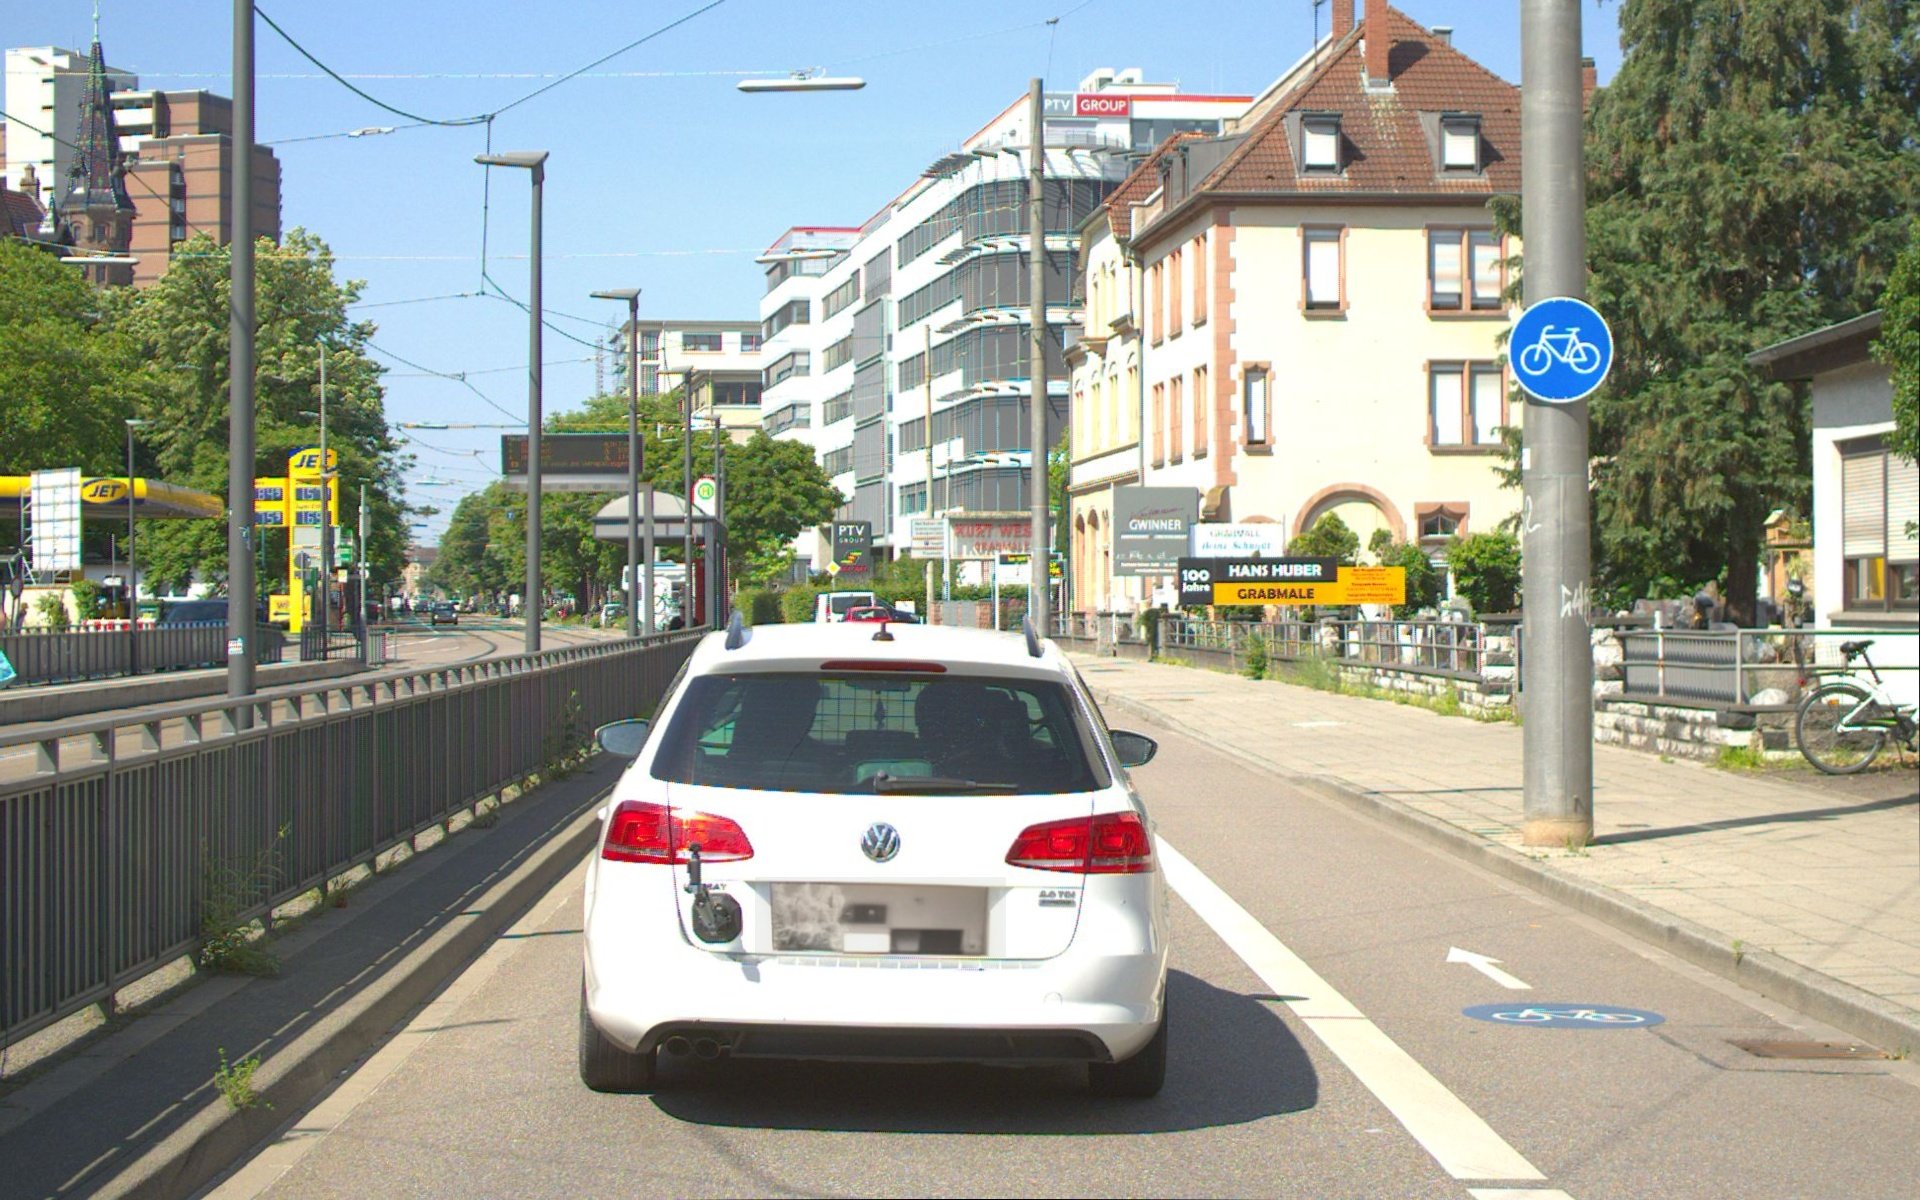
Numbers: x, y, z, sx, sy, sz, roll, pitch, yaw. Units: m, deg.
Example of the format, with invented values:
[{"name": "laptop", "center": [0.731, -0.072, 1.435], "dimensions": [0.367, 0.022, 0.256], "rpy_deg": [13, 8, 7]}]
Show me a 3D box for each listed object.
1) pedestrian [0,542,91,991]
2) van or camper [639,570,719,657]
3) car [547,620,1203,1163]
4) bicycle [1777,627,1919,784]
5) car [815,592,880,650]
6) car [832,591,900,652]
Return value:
[{"name": "pedestrian", "center": [-4.126, 0.674, 14.244], "dimensions": [0.826, 1.803, 0.833], "rpy_deg": [-1, 0, -1]}, {"name": "van or camper", "center": [-10.663, 0.498, 130.340], "dimensions": [2.943, 3.169, 6.614], "rpy_deg": [-1, 0, -5]}, {"name": "car", "center": [-0.264, 0.808, 11.314], "dimensions": [1.752, 1.413, 3.853], "rpy_deg": [2, 0, -1]}, {"name": "bicycle", "center": [6.928, 0.766, 25.249], "dimensions": [1.712, 1.126, 0.525], "rpy_deg": [-1, 0, 1]}, {"name": "car", "center": [-3.976, 0.728, 121.210], "dimensions": [1.993, 2.007, 4.001], "rpy_deg": [-1, 0, -6]}, {"name": "car", "center": [-3.182, 0.705, 115.800], "dimensions": [1.993, 2.007, 4.001], "rpy_deg": [-1, 0, -6]}]
